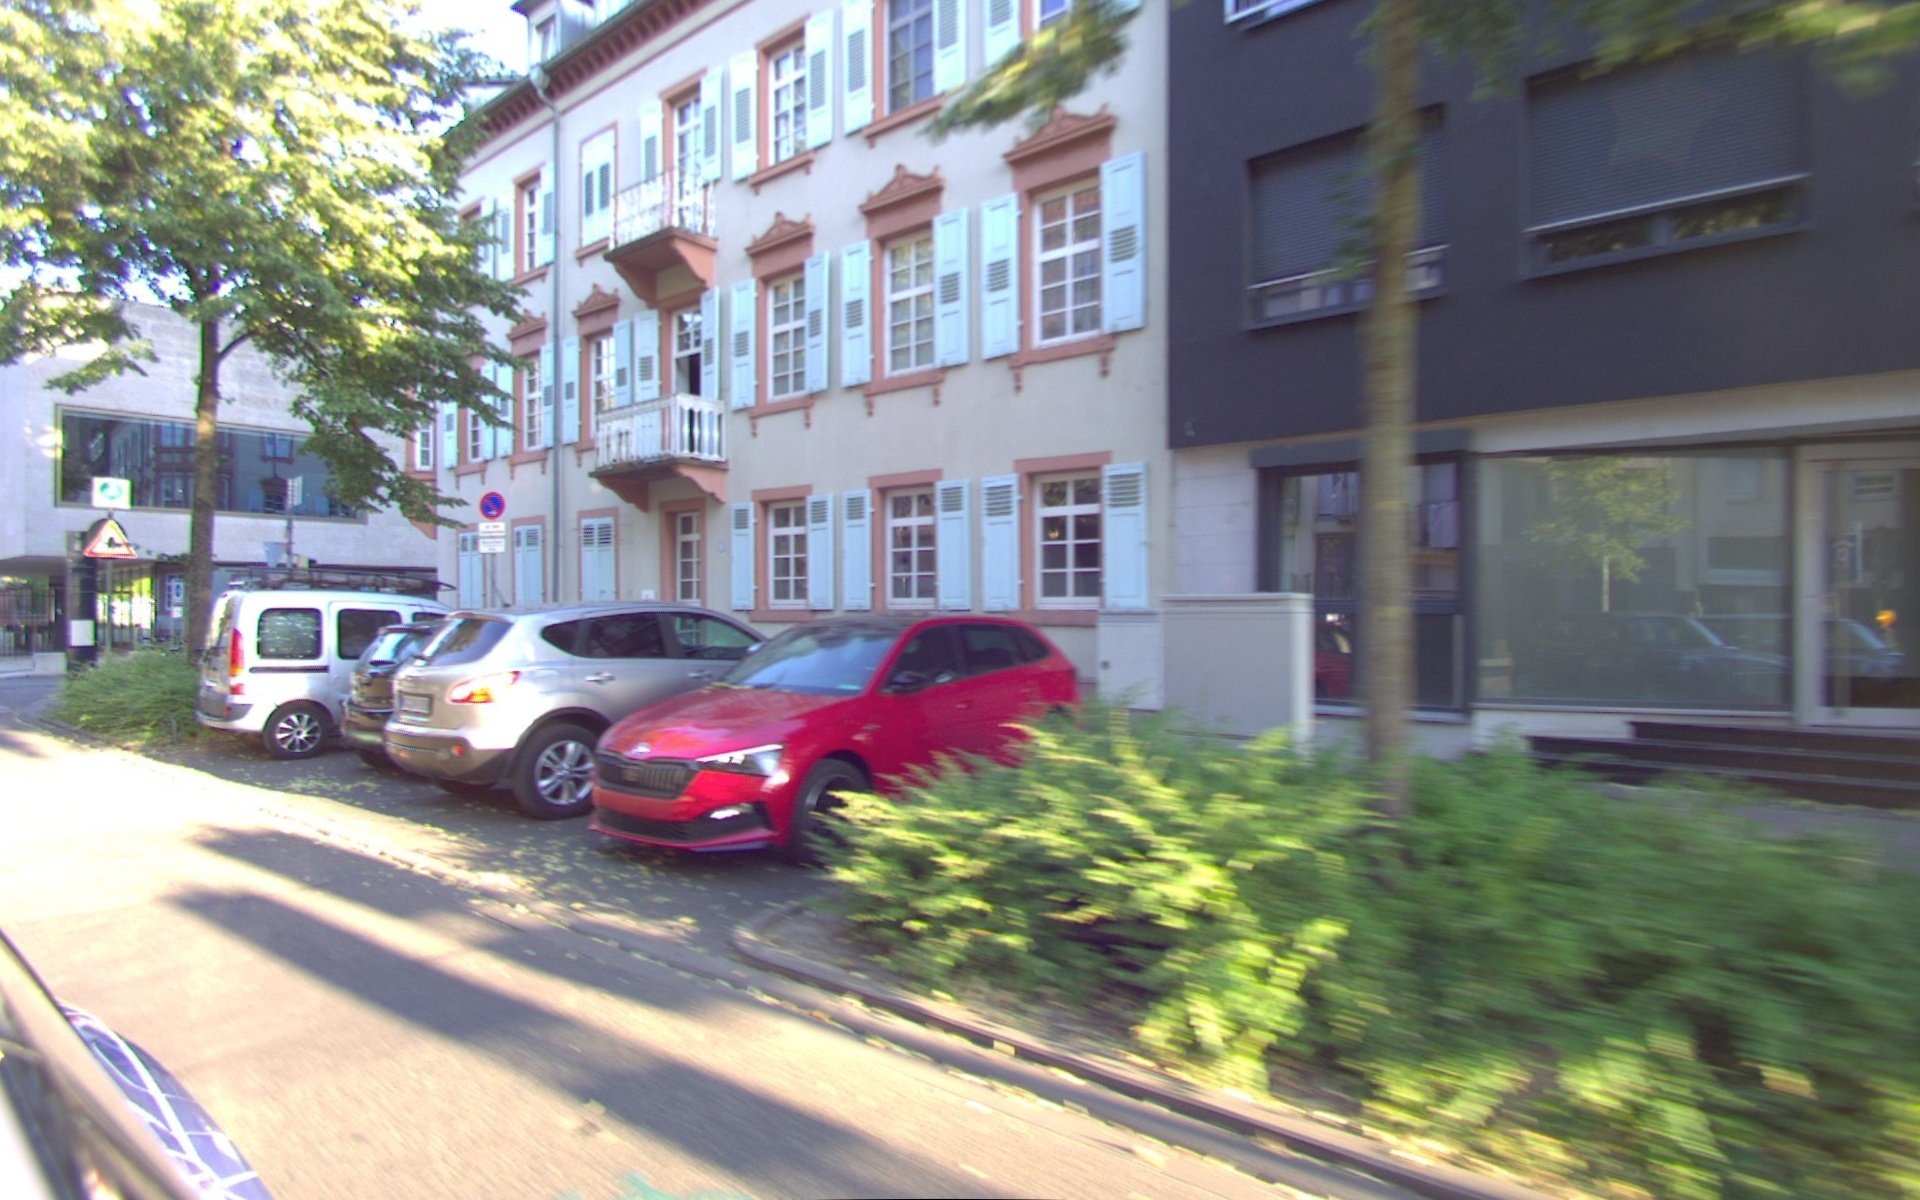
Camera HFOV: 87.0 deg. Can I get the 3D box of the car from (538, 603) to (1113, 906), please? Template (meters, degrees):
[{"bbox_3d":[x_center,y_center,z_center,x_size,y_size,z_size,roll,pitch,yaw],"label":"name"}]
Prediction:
[{"bbox_3d":[-0.642,0.814,7.337,1.759,1.528,4.170,-1,-1,36],"label":"car"}]

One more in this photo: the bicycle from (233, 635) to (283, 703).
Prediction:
[{"bbox_3d":[-11.985,1.162,17.268,1.596,1.090,0.337,-1,-2,42],"label":"bicycle"}]

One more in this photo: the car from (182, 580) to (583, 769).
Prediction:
[{"bbox_3d":[-6.636,0.763,11.919,1.700,1.863,3.769,-1,-1,43],"label":"car"}]

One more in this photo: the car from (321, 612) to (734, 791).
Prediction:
[{"bbox_3d":[-4.351,0.903,10.528,1.649,1.526,3.608,-1,-2,44],"label":"car"}]

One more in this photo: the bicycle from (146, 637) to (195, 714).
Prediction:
[{"bbox_3d":[-12.705,1.193,16.275,1.596,1.149,0.327,-1,0,42],"label":"bicycle"}]

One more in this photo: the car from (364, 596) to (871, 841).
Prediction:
[{"bbox_3d":[-2.744,0.783,8.714,1.741,1.597,3.784,0,0,42],"label":"car"}]

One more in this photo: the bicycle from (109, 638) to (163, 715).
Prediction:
[{"bbox_3d":[-13.065,1.180,16.024,1.712,1.116,0.391,0,1,42],"label":"bicycle"}]

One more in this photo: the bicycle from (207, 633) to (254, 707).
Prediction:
[{"bbox_3d":[-12.263,1.156,17.001,1.612,1.157,0.308,0,0,42],"label":"bicycle"}]
